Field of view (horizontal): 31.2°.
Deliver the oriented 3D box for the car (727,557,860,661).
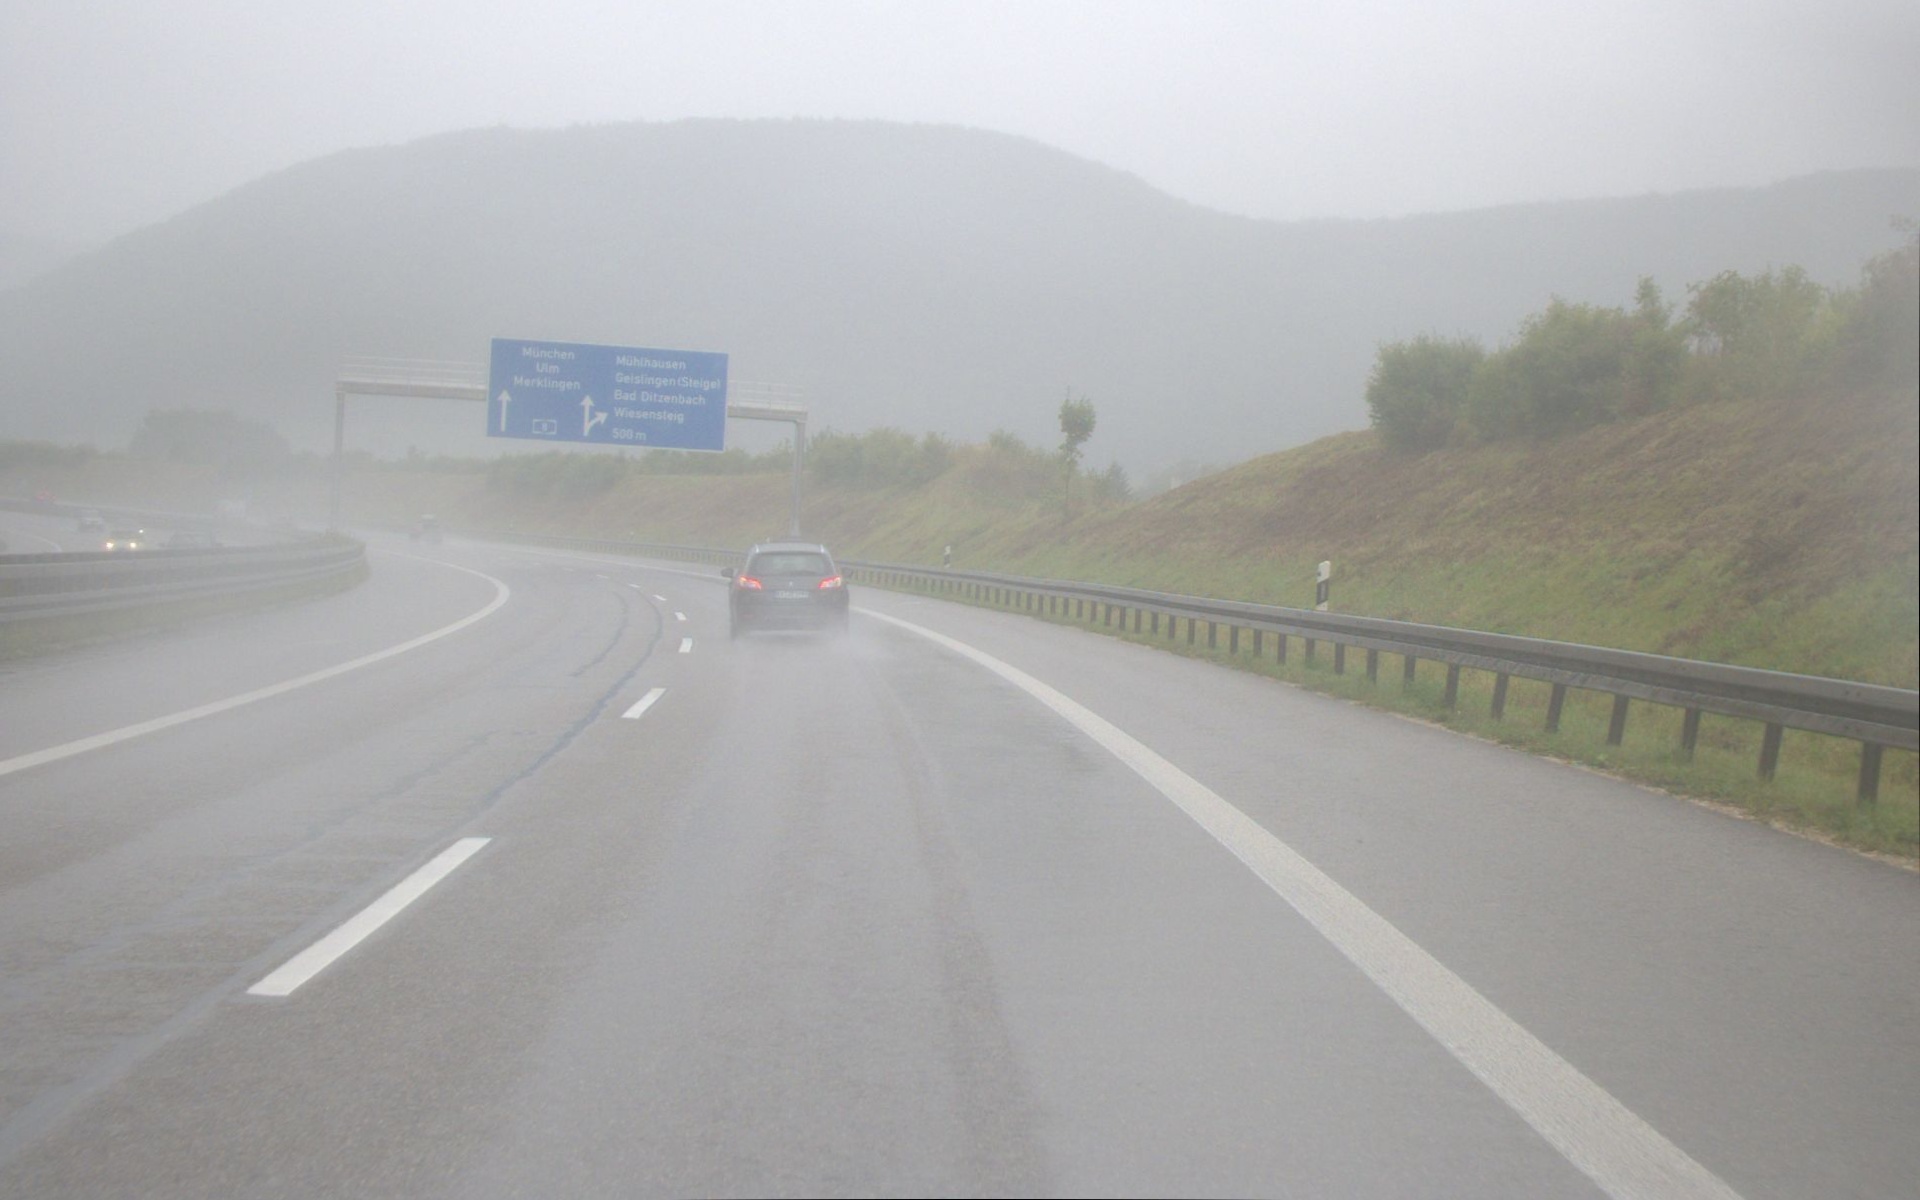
[{"bbox_3d":[-2.495,0.102,52.197,1.679,1.467,3.814,2,1,2],"label":"car"}]
